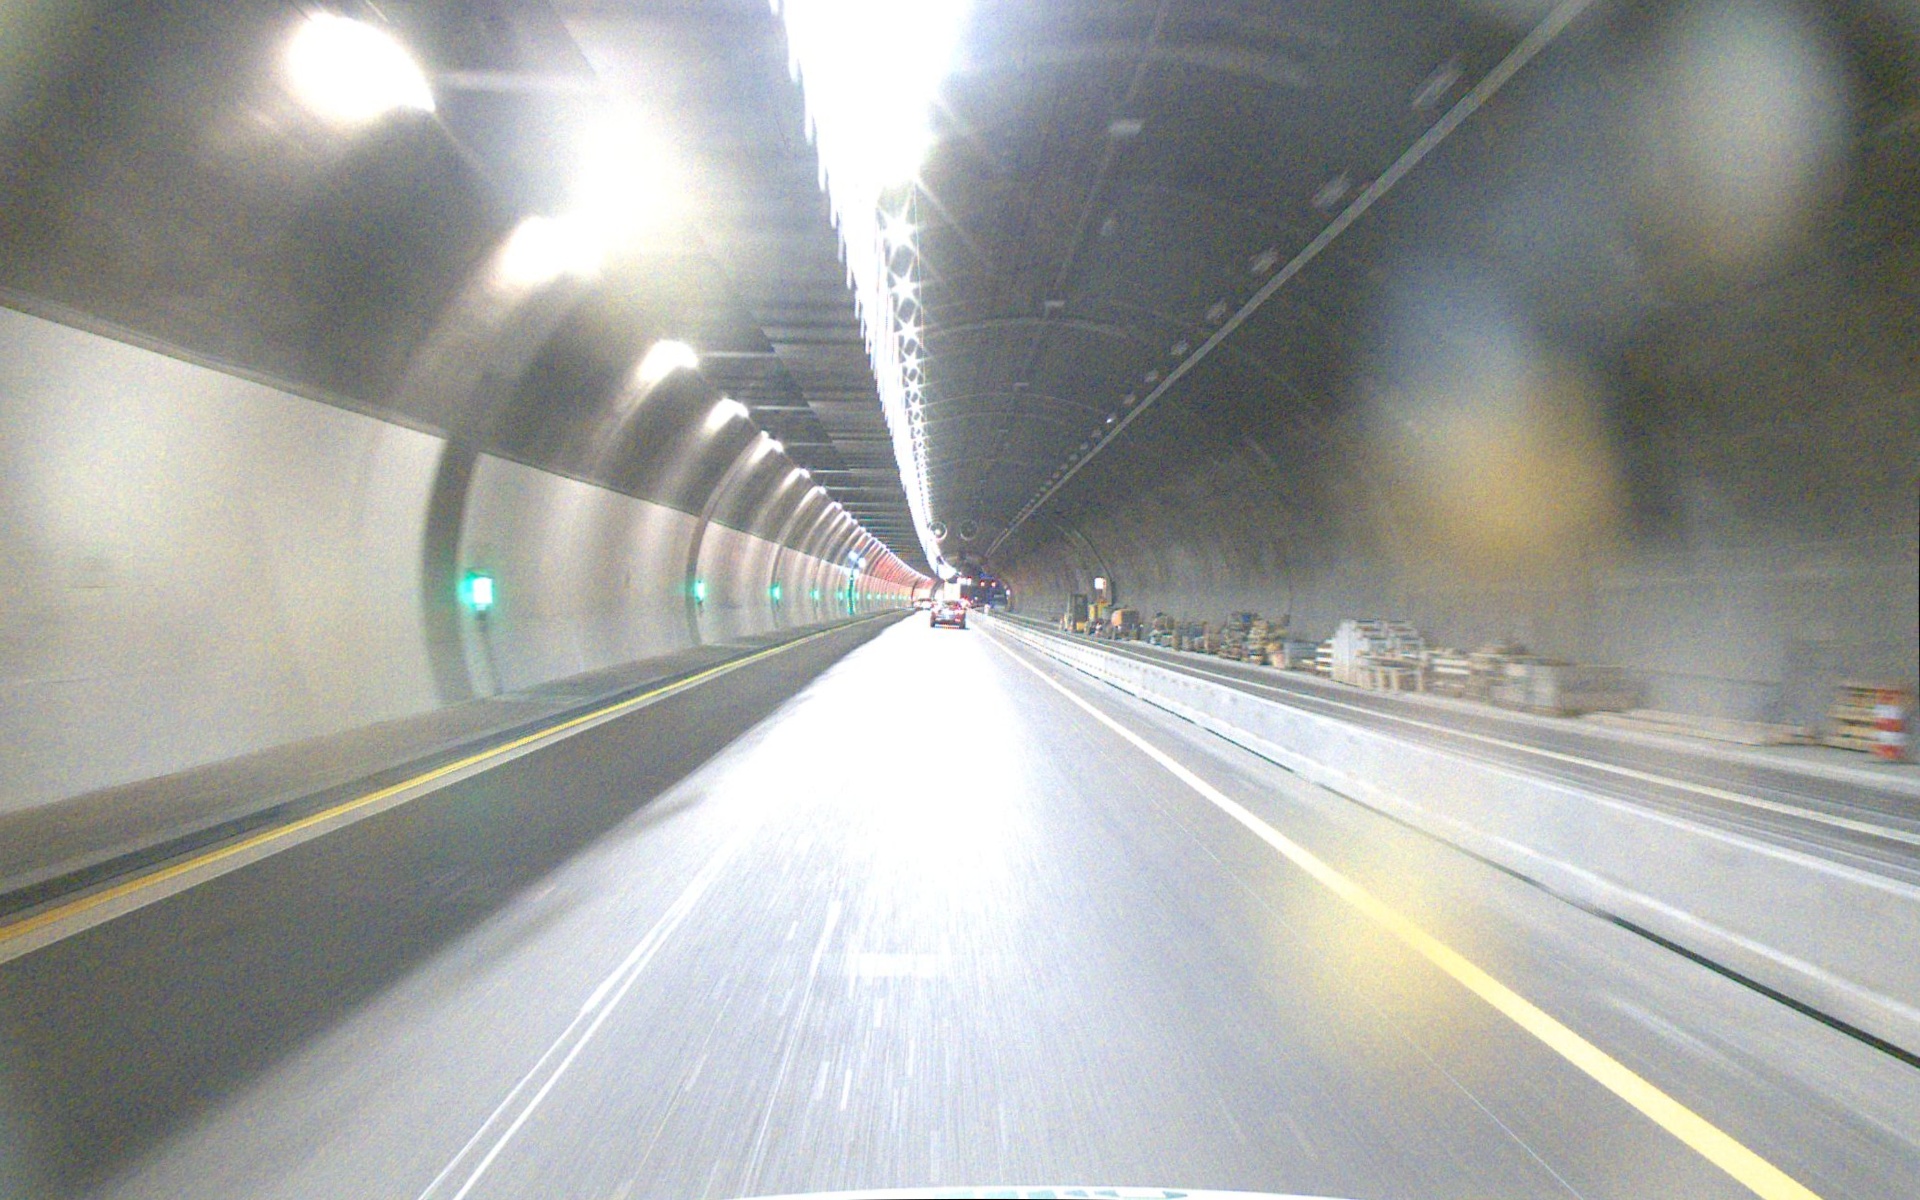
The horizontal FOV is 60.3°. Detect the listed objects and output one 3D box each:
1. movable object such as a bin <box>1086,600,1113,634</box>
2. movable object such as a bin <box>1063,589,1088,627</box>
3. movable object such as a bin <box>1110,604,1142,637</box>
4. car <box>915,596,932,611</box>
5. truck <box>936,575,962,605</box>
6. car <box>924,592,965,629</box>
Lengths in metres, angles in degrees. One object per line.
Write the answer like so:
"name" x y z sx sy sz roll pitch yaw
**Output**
"movable object such as a bin" 7.434 0.900 88.364 1.209 1.748 2.216 1 0 -1
"movable object such as a bin" 6.644 0.456 95.231 1.209 2.178 2.216 1 0 -1
"movable object such as a bin" 7.712 0.946 77.064 1.209 1.467 2.216 1 0 -1
"car" -4.330 0.354 196.401 1.890 1.716 4.000 -1 0 0
"truck" -1.774 -1.573 264.348 3.983 4.612 14.962 -1 0 -1
"car" -0.842 0.531 86.549 1.908 1.826 3.997 -1 0 -4
